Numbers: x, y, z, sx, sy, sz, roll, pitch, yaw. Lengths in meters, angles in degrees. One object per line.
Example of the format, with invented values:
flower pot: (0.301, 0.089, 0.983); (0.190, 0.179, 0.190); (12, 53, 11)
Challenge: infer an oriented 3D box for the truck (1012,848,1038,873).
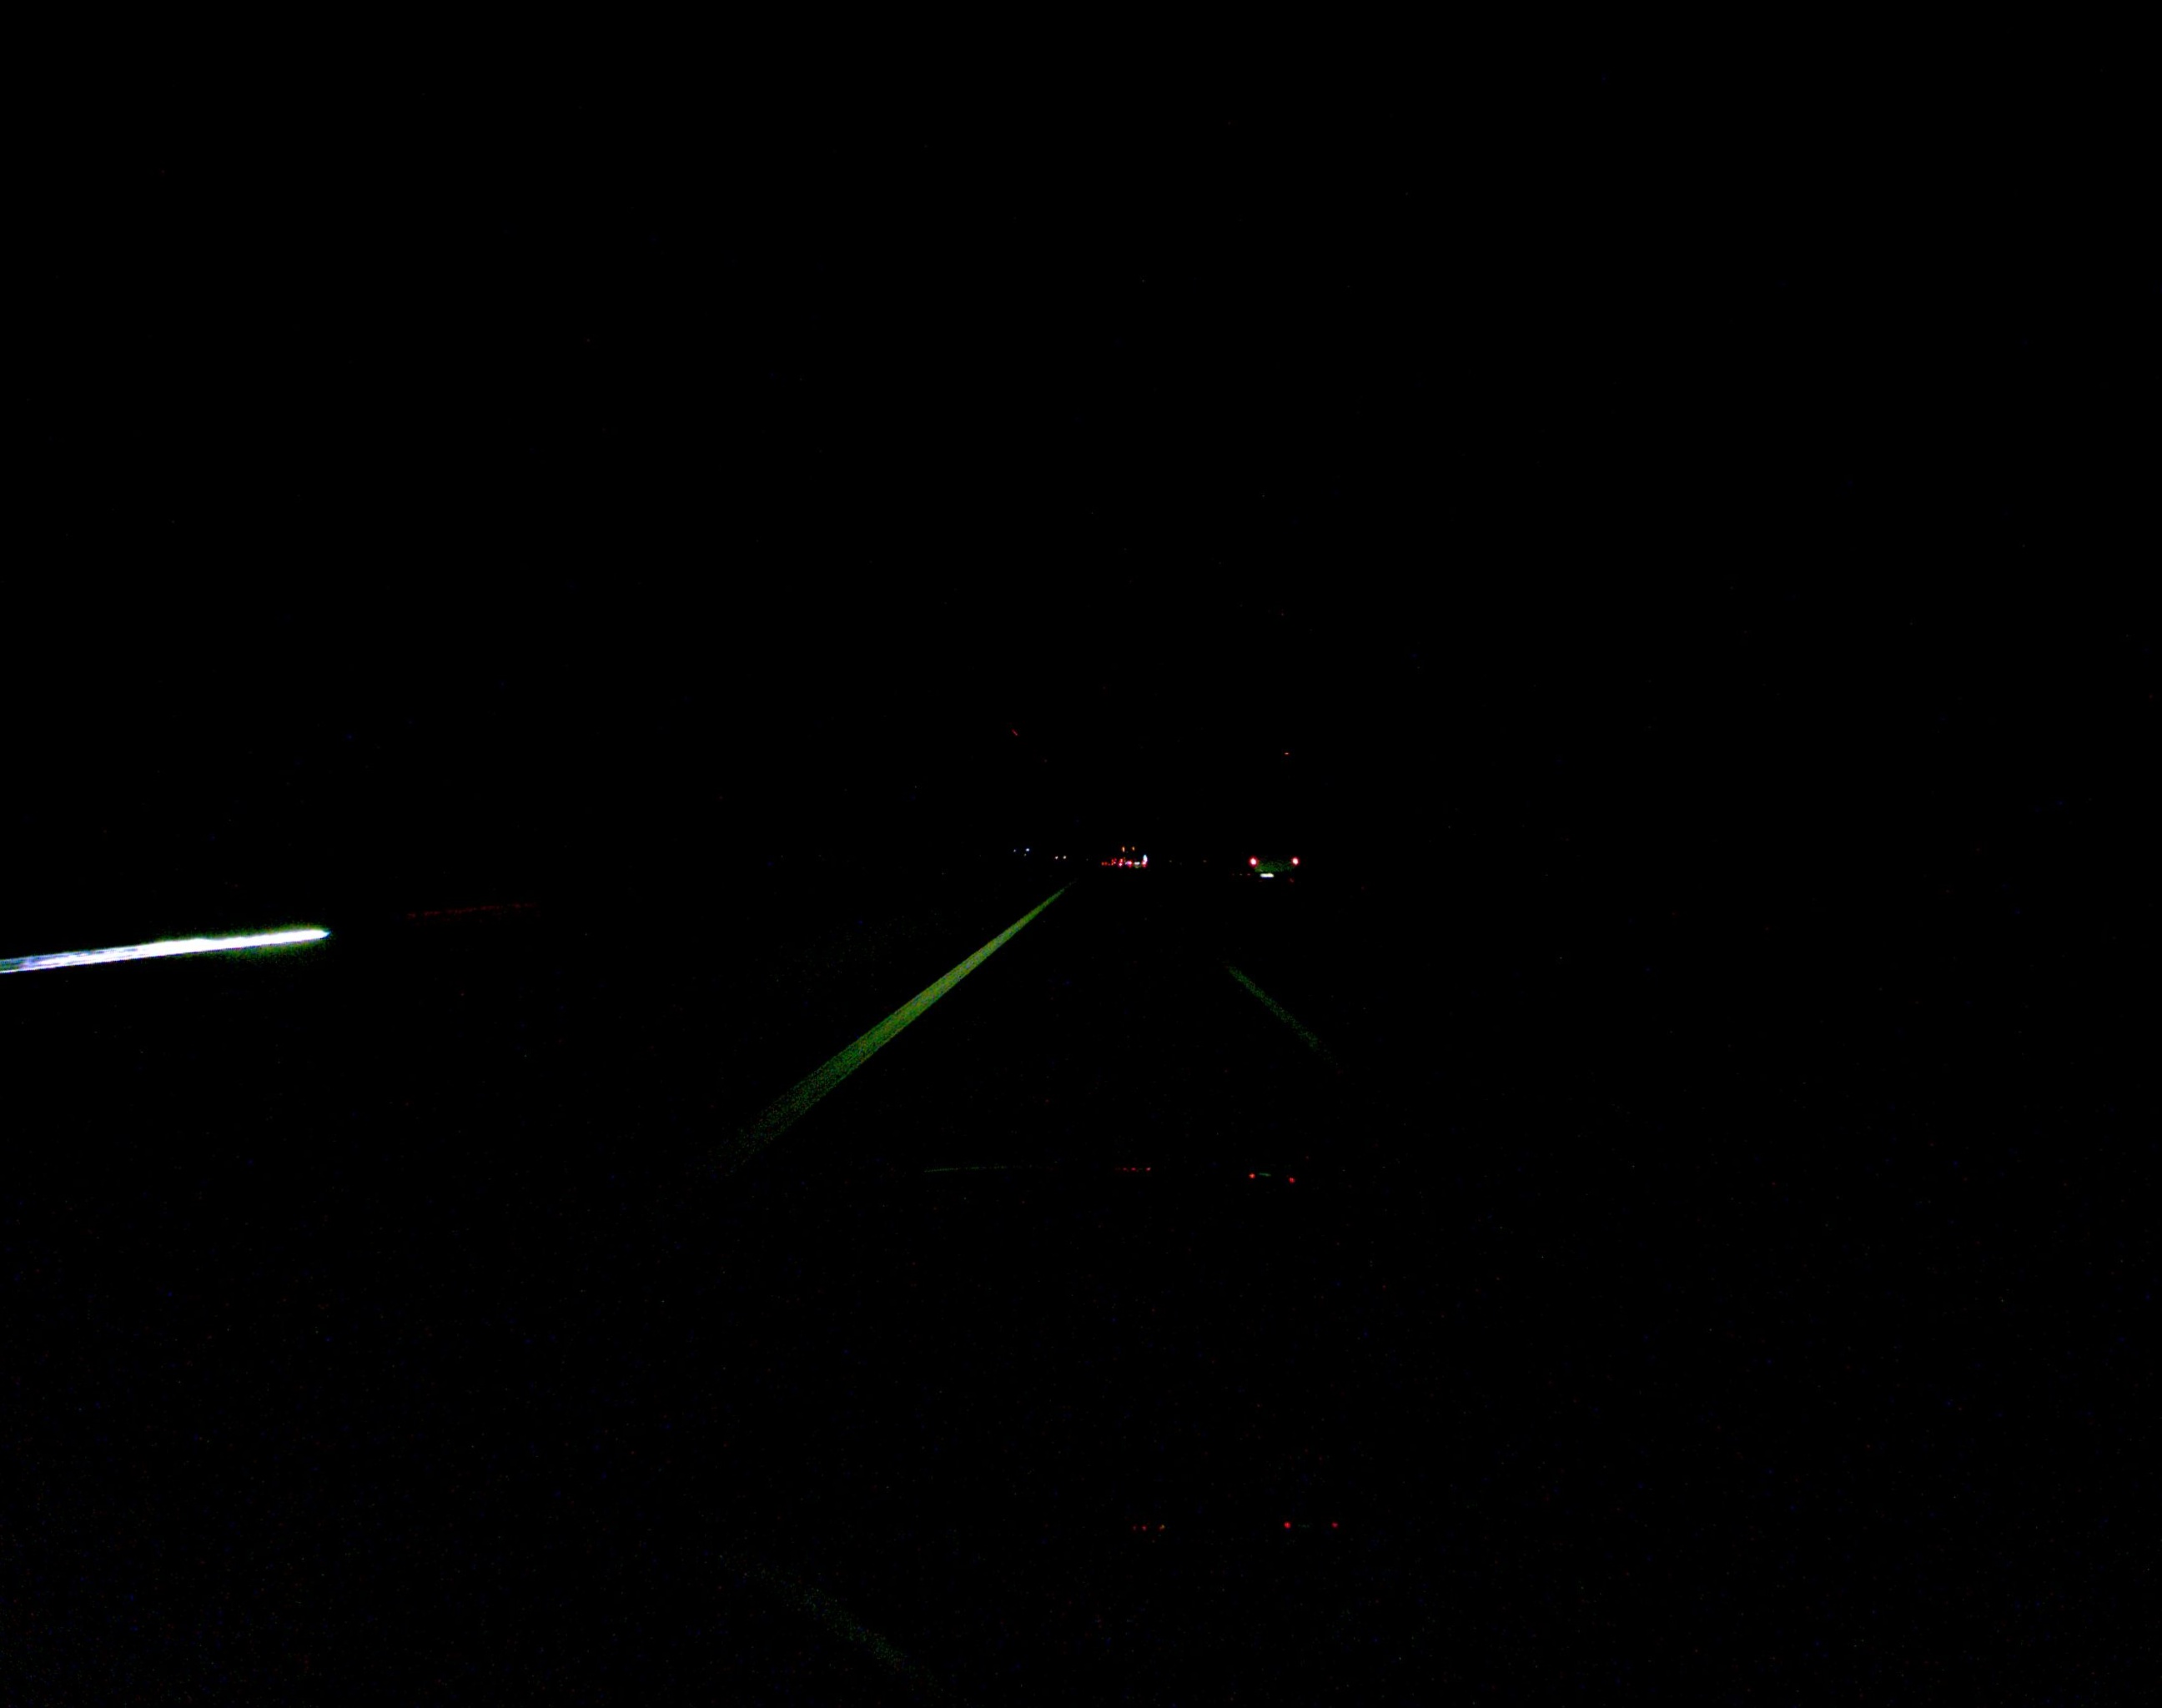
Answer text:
truck: (-10.872, 1.143, 159.489); (3.234, 4.488, 17.448); (0, 1, 2)

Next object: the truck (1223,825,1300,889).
truck: (8.280, 0.142, 38.133); (2.069, 2.691, 7.308); (0, 0, 1)

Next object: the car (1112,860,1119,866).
car: (8.369, 2.166, 197.154); (1.813, 1.466, 4.251); (0, 1, 3)

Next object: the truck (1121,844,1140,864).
truck: (8.235, -0.052, 137.464); (3.032, 3.324, 10.149); (0, 1, 2)

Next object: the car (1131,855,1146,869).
car: (5.983, 0.806, 85.310); (1.342, 1.387, 3.501); (0, 1, 0)

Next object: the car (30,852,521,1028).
car: (-11.427, 1.012, 12.392); (1.901, 1.922, 5.458); (-3, 1, 0)
